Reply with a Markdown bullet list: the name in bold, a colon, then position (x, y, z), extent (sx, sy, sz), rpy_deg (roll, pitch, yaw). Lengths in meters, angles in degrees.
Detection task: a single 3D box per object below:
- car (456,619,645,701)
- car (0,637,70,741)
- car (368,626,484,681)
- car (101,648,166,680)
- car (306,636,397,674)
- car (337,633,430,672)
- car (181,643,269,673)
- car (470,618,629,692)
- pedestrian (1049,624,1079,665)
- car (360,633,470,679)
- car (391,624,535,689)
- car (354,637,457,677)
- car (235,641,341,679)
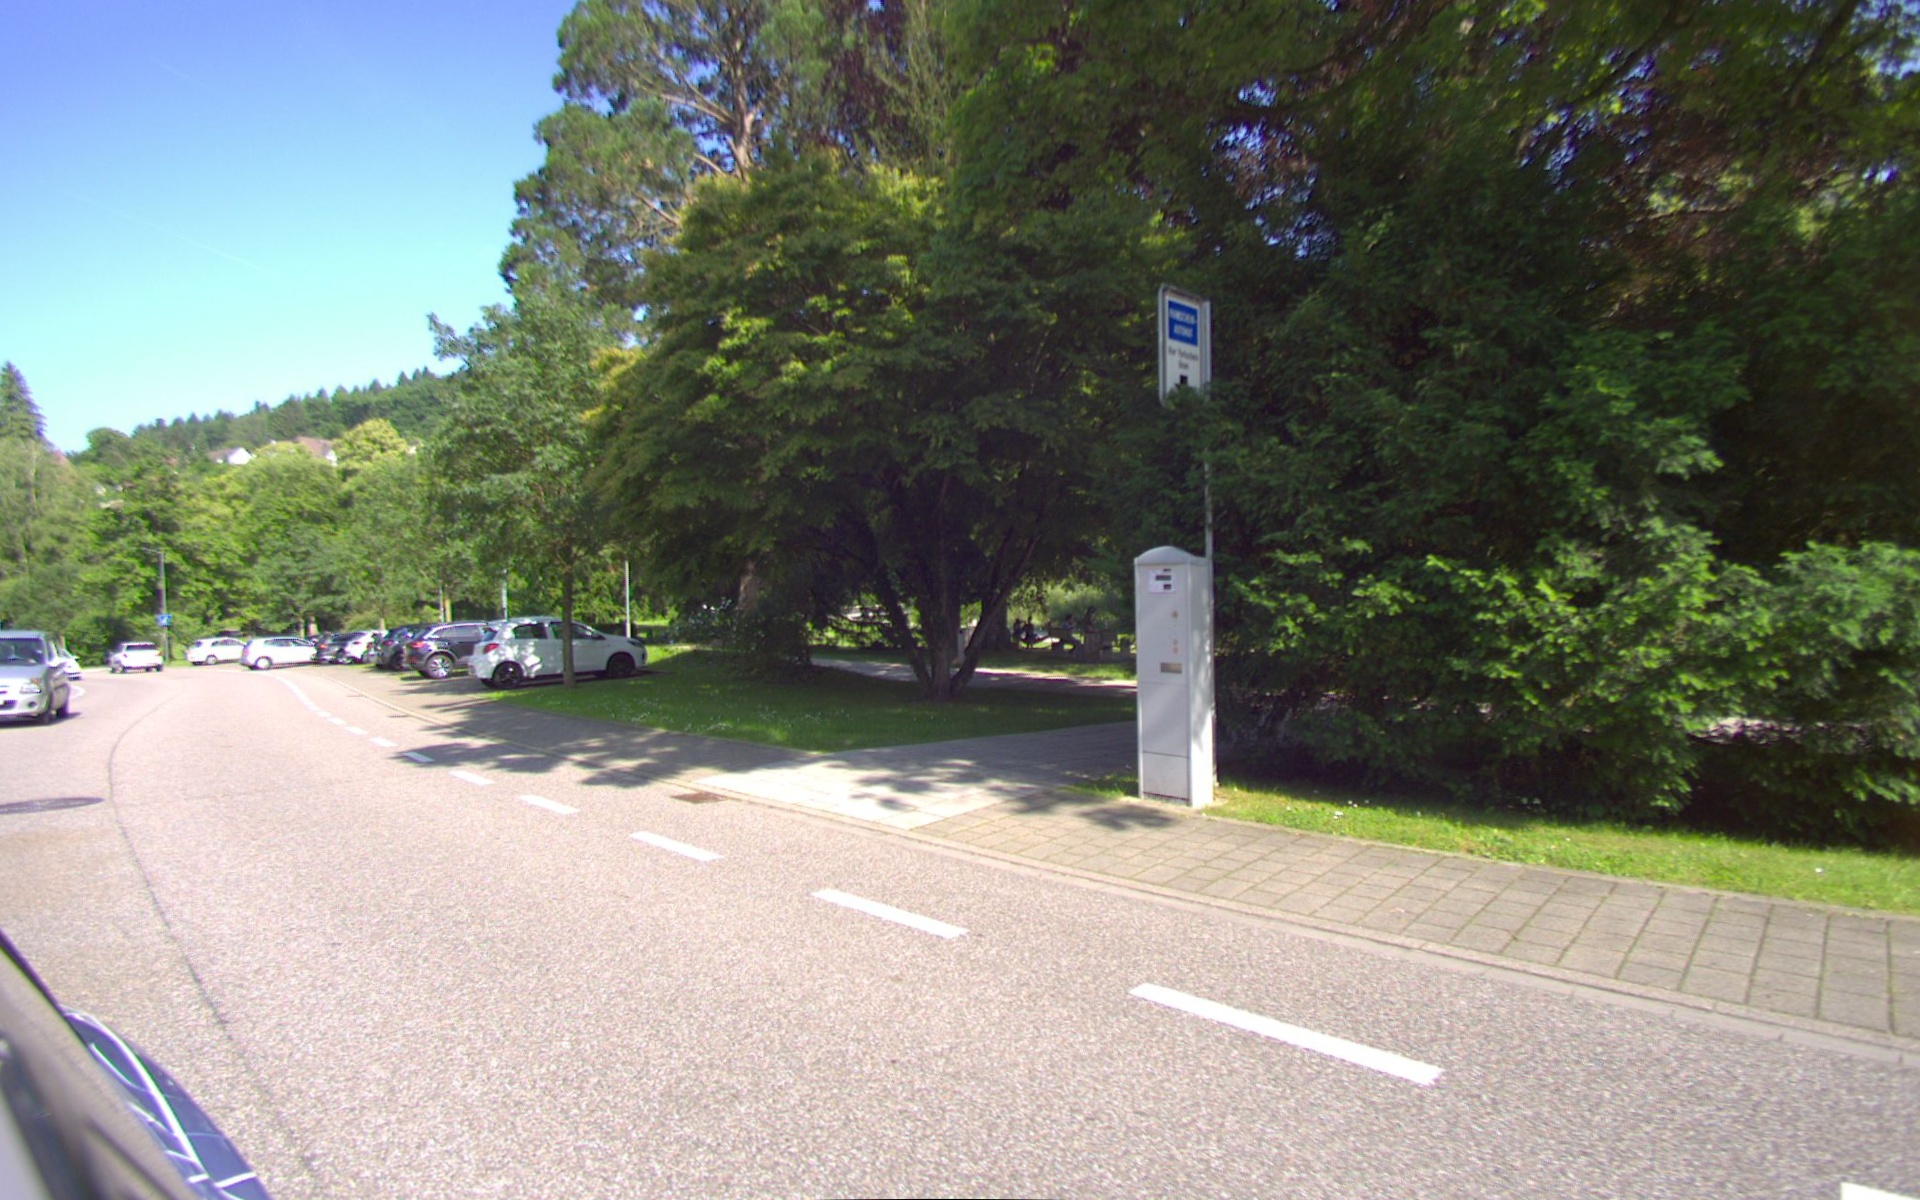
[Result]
- **car**: position (-9.223, 1.305, 22.902), extent (3.629, 1.498, 1.569), rpy_deg (-3, 0, -36)
- **car**: position (-16.763, 1.491, 17.601), extent (1.579, 1.650, 4.009), rpy_deg (0, -2, -36)
- **car**: position (-19.125, 1.887, 36.275), extent (3.436, 1.632, 1.383), rpy_deg (-4, 0, -36)
- **car**: position (-43.054, 3.340, 52.696), extent (3.993, 1.516, 1.754), rpy_deg (-3, -2, 37)
- **car**: position (-28.316, 2.540, 47.112), extent (3.436, 1.436, 1.557), rpy_deg (-4, 0, -36)
- **car**: position (-25.935, 2.329, 45.539), extent (3.436, 1.436, 1.557), rpy_deg (-4, 0, -36)
- **car**: position (-44.039, 3.472, 60.736), extent (1.510, 1.488, 3.960), rpy_deg (-4, -1, 30)
- **car**: position (-10.319, 1.346, 25.538), extent (3.436, 1.564, 1.383), rpy_deg (-3, 0, -36)
- **pedestrian**: position (3.202, 1.353, 31.186), extent (0.645, 1.232, 0.711), rpy_deg (-1, -1, -19)
- **car**: position (-20.788, 2.094, 38.635), extent (3.436, 1.436, 1.557), rpy_deg (-4, 0, -36)
- **car**: position (-14.193, 1.586, 28.957), extent (3.436, 1.557, 1.447), rpy_deg (-3, 0, -36)
- **car**: position (-22.349, 2.271, 40.801), extent (3.436, 1.311, 1.557), rpy_deg (-4, 0, -36)
- **car**: position (-31.974, 2.843, 48.238), extent (1.516, 1.408, 3.943), rpy_deg (-4, 0, 44)
